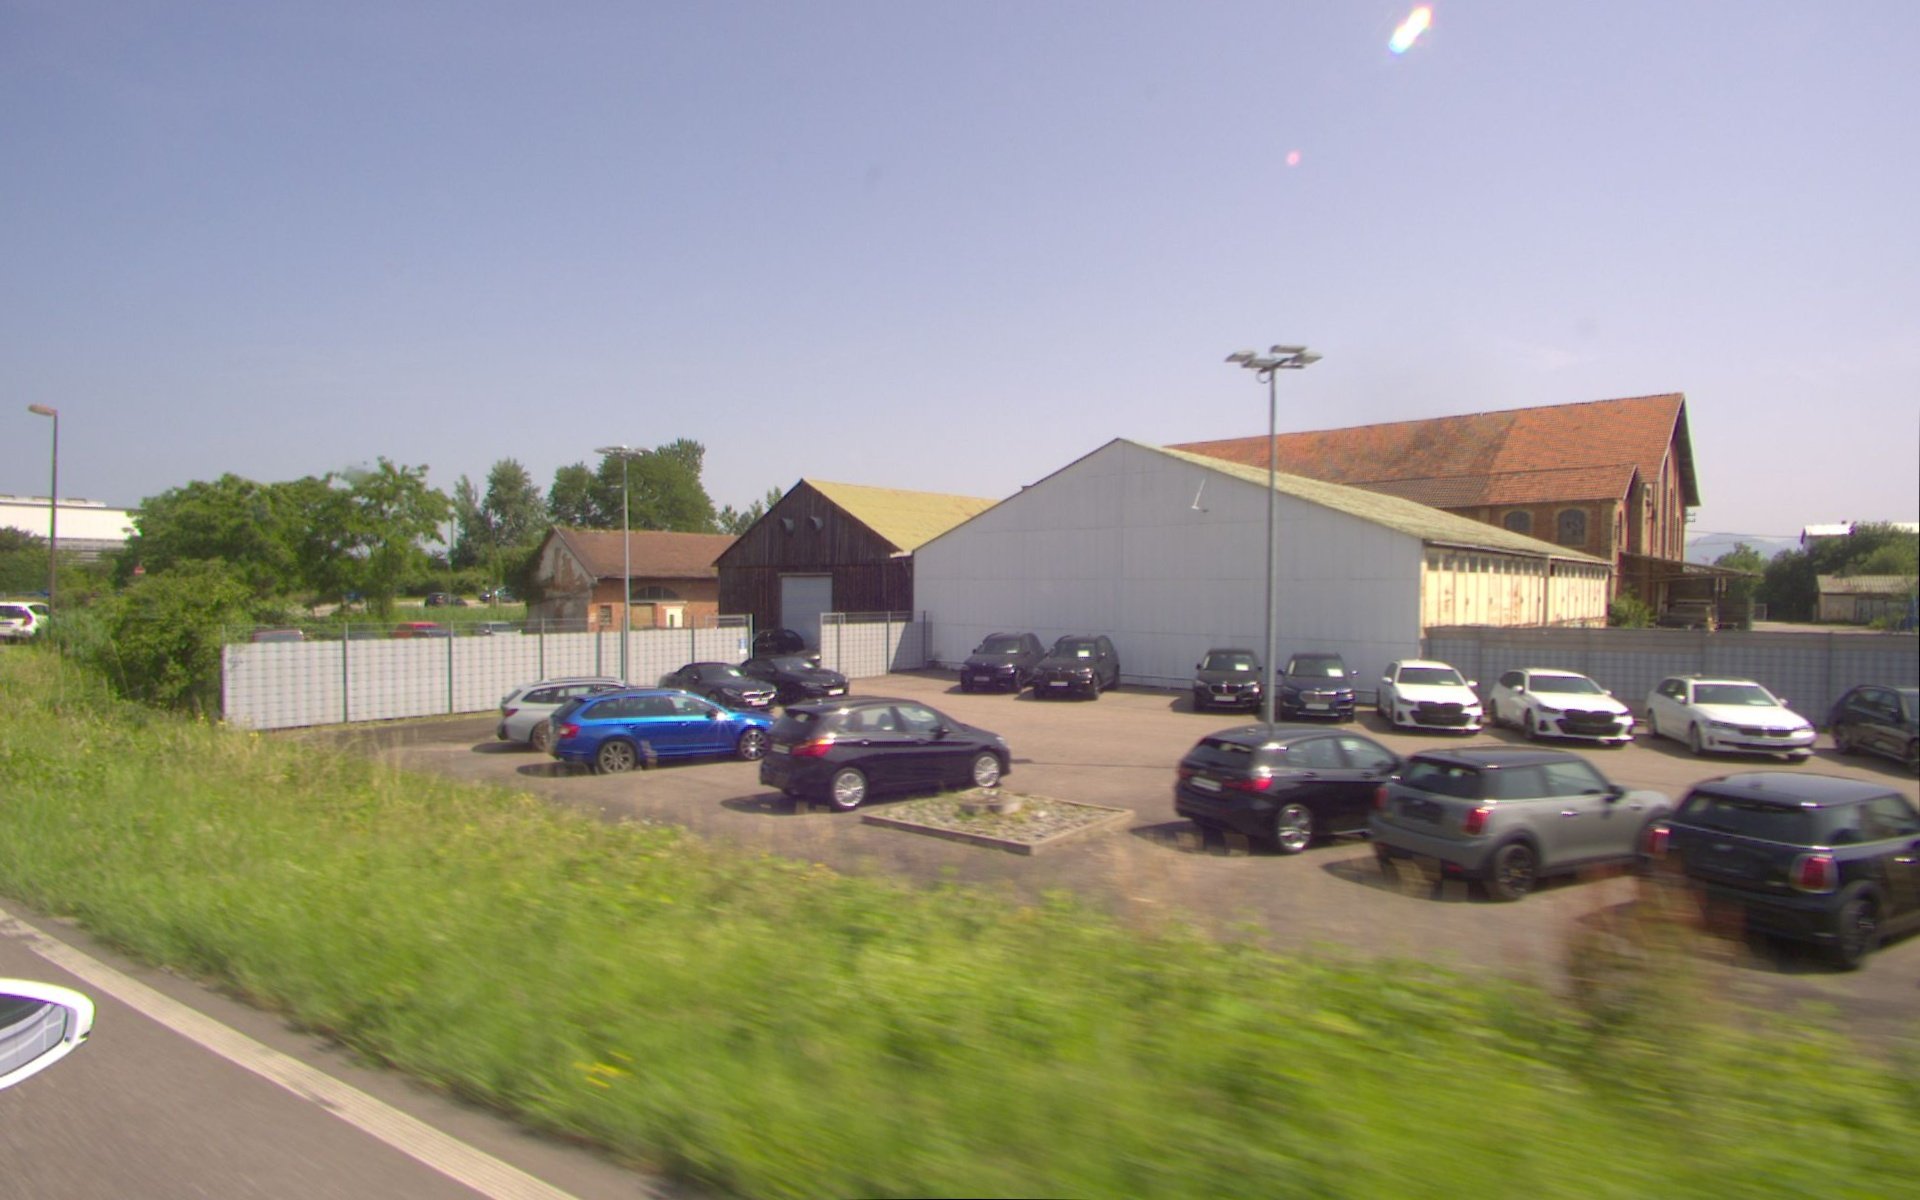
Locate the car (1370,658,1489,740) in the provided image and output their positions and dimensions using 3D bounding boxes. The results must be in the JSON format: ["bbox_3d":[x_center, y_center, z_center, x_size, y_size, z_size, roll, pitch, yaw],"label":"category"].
[{"bbox_3d":[11.292,2.314,24.369,1.876,1.543,4.332,1,0,15],"label":"car"}]

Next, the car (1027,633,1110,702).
[{"bbox_3d":[3.461,2.036,31.287,1.876,1.828,4.332,1,0,15],"label":"car"}]

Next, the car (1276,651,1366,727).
[{"bbox_3d":[9.412,2.257,26.401,1.876,1.597,4.332,1,0,15],"label":"car"}]

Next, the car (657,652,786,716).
[{"bbox_3d":[-6.866,2.313,28.489,1.835,1.554,4.608,0,-1,-38],"label":"car"}]

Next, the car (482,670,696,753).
[{"bbox_3d":[-8.170,2.407,22.281,4.299,1.523,1.837,1,0,-20],"label":"car"}]

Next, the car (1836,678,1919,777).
[{"bbox_3d":[18.285,2.360,18.579,1.728,1.543,4.001,-1,0,20],"label":"car"}]

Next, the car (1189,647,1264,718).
[{"bbox_3d":[7.536,2.250,28.290,1.876,1.597,4.332,1,0,15],"label":"car"}]

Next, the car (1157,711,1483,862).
[{"bbox_3d":[4.841,2.390,13.491,3.970,1.462,1.767,1,1,-23],"label":"car"}]

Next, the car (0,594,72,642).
[{"bbox_3d":[-36.223,0.700,38.793,1.762,1.621,3.877,6,-6,-28],"label":"car"}]

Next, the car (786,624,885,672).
[{"bbox_3d":[-4.921,1.861,39.778,1.656,1.772,3.717,-1,-1,43],"label":"car"}]

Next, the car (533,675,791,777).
[{"bbox_3d":[-5.841,2.391,19.791,4.580,1.518,1.845,0,1,-32],"label":"car"}]

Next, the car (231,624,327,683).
[{"bbox_3d":[-25.186,1.928,36.980,3.953,2.040,1.985,-1,-1,40],"label":"car"}]

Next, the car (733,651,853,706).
[{"bbox_3d":[-5.152,2.343,30.606,1.977,1.416,3.969,0,-1,-38],"label":"car"}]

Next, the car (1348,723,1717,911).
[{"bbox_3d":[6.751,2.387,11.776,4.087,1.512,1.823,1,0,-27],"label":"car"}]

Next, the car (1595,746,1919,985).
[{"bbox_3d":[8.397,2.412,9.851,4.087,1.462,1.767,1,1,-27],"label":"car"}]

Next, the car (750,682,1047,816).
[{"bbox_3d":[-0.918,2.289,16.341,4.585,1.626,1.843,0,0,-36],"label":"car"}]

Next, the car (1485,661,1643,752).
[{"bbox_3d":[13.630,2.329,22.925,1.876,1.543,4.607,1,0,15],"label":"car"}]

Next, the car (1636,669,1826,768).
[{"bbox_3d":[16.075,2.384,21.177,1.878,1.543,4.651,-1,0,20],"label":"car"}]

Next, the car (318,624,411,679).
[{"bbox_3d":[-23.329,1.969,39.201,3.953,2.040,1.985,-1,-1,40],"label":"car"}]

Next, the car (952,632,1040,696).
[{"bbox_3d":[1.284,2.068,33.505,1.962,1.828,4.332,1,0,15],"label":"car"}]

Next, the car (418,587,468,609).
[{"bbox_3d":[-41.826,-0.177,81.076,1.752,1.623,3.794,0,-2,7],"label":"car"}]

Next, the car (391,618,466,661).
[{"bbox_3d":[-26.167,1.899,49.261,3.953,2.040,1.985,-1,-1,40],"label":"car"}]

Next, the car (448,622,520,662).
[{"bbox_3d":[-24.946,2.161,52.485,3.953,2.040,1.985,-1,-1,40],"label":"car"}]
